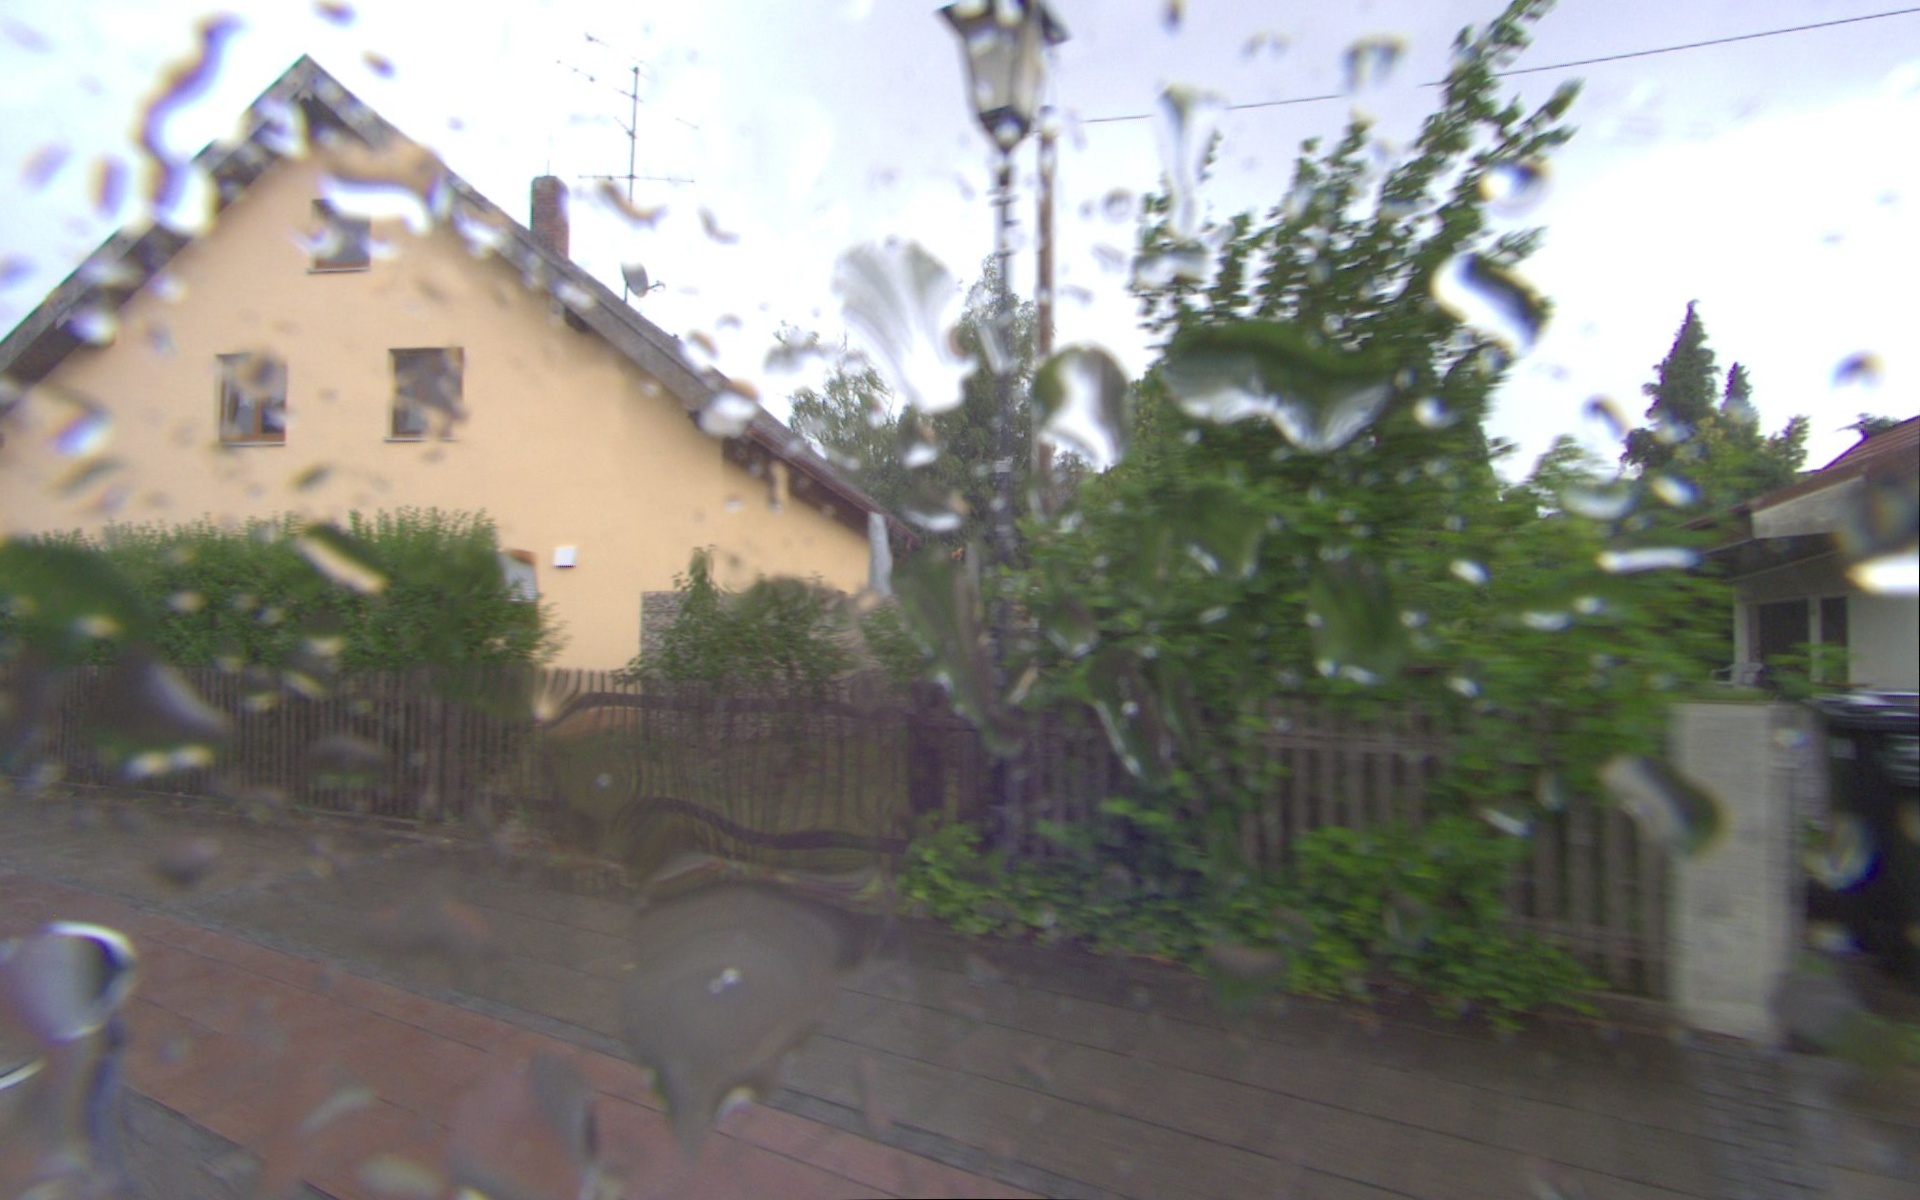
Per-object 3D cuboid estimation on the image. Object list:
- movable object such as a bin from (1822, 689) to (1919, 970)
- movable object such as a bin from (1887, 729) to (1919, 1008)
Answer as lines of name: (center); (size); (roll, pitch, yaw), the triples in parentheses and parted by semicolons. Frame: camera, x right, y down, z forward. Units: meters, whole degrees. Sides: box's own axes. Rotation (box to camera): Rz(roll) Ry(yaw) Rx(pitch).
movable object such as a bin: (3.990, 0.930, 4.151); (0.545, 1.054, 0.573); (-1, 1, 33)
movable object such as a bin: (3.709, 0.976, 3.625); (0.440, 0.948, 0.432); (-1, 1, 33)
